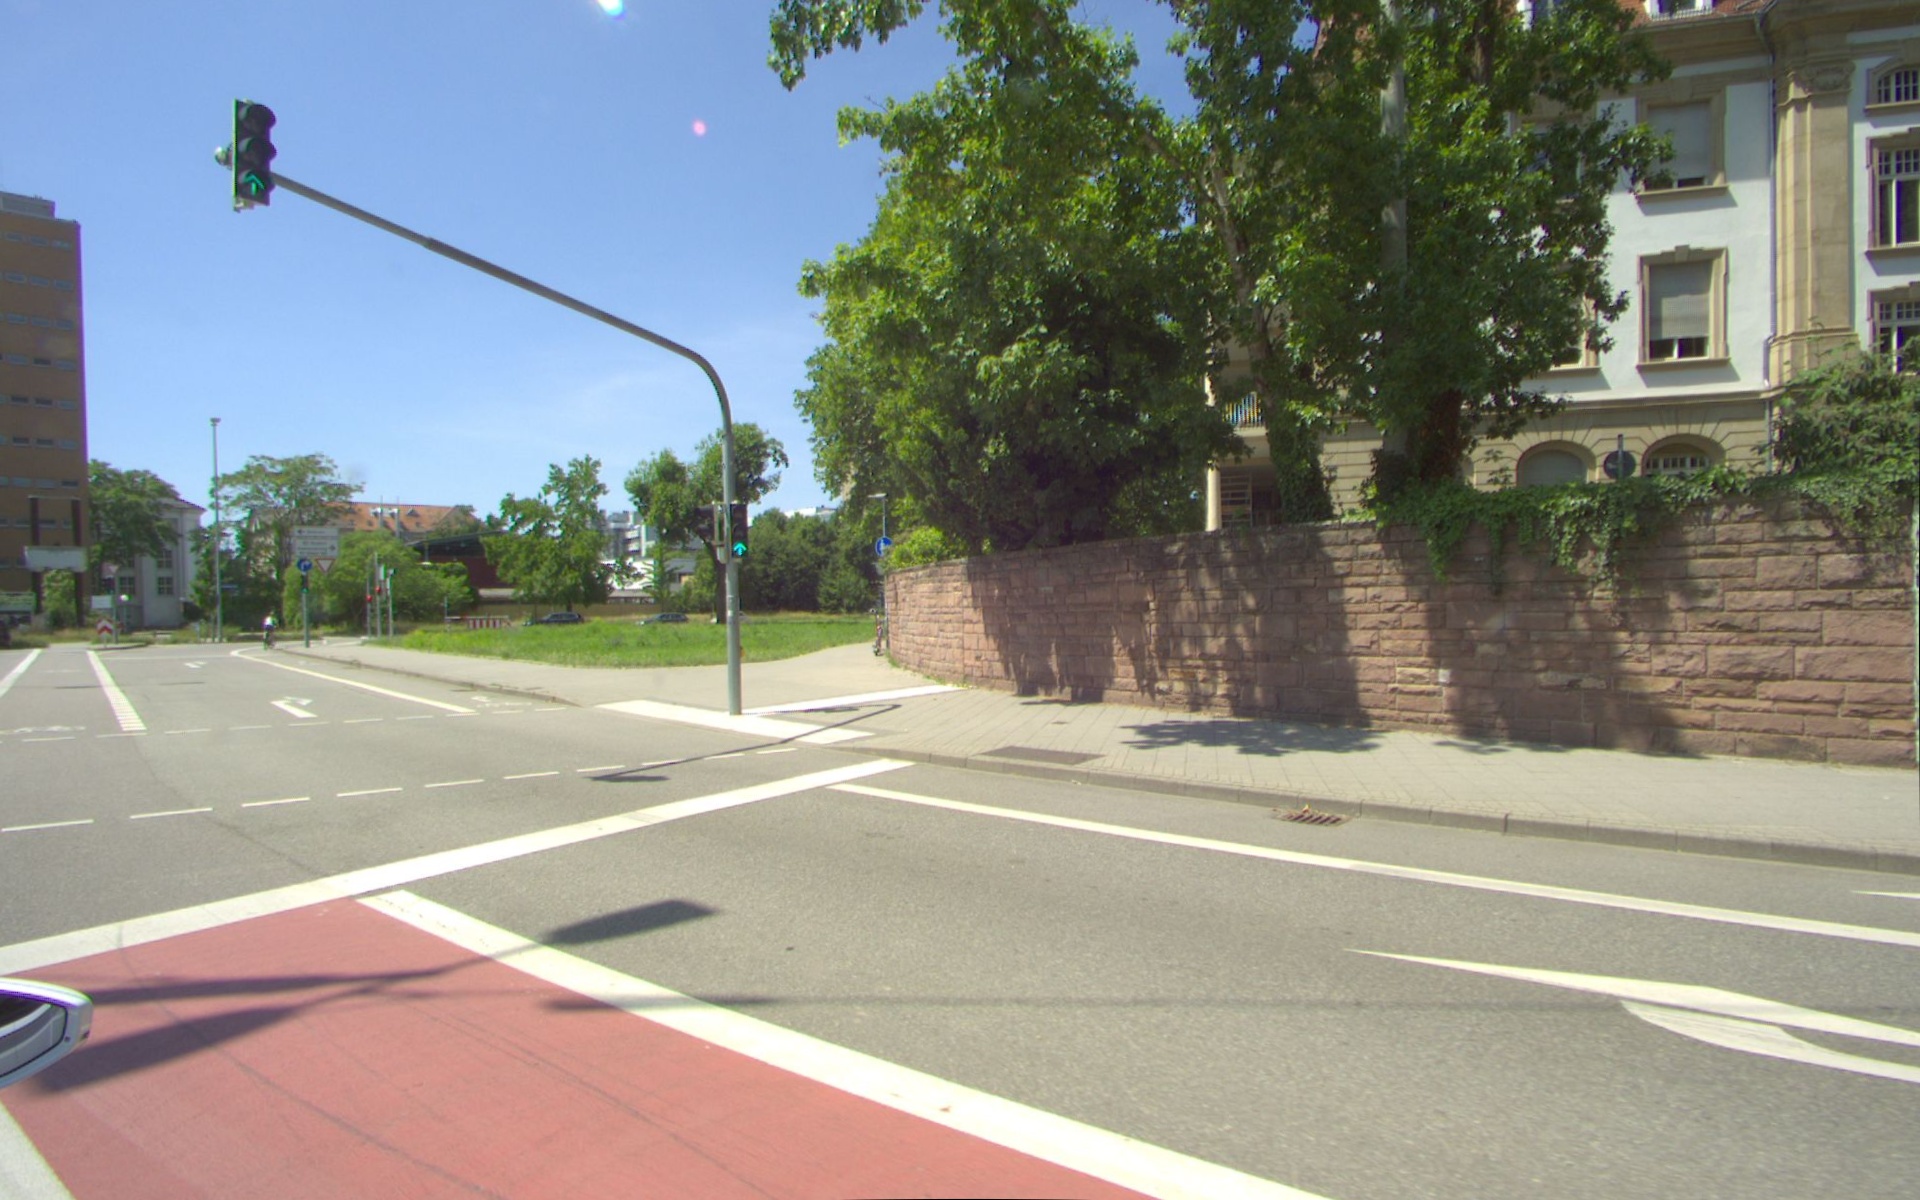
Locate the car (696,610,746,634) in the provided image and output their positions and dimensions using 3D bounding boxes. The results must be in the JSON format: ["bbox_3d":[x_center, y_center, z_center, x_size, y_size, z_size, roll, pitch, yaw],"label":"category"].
[{"bbox_3d":[-20.618,1.897,86.341,3.954,1.895,1.458,-1,-1,-40],"label":"car"}]

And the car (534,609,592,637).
[{"bbox_3d":[-30.734,1.773,77.582,3.954,2.040,1.458,-1,-1,-40],"label":"car"}]

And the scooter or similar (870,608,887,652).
[{"bbox_3d":[-2.263,0.824,27.846,0.269,1.178,1.467,-2,-1,2],"label":"scooter or similar"}]

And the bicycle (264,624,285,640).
[{"bbox_3d":[-31.390,1.456,45.889,0.371,0.654,1.640,-1,0,-20],"label":"bicycle"}]

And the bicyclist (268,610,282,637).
[{"bbox_3d":[-31.436,1.079,45.955,0.346,1.244,0.563,-1,1,-19],"label":"bicyclist"}]

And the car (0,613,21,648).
[{"bbox_3d":[-44.415,1.429,45.762,3.645,1.547,1.681,-2,-1,39],"label":"car"}]

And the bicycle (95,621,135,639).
[{"bbox_3d":[-57.769,2.072,68.470,1.984,1.150,0.571,-1,0,-31],"label":"bicycle"}]
